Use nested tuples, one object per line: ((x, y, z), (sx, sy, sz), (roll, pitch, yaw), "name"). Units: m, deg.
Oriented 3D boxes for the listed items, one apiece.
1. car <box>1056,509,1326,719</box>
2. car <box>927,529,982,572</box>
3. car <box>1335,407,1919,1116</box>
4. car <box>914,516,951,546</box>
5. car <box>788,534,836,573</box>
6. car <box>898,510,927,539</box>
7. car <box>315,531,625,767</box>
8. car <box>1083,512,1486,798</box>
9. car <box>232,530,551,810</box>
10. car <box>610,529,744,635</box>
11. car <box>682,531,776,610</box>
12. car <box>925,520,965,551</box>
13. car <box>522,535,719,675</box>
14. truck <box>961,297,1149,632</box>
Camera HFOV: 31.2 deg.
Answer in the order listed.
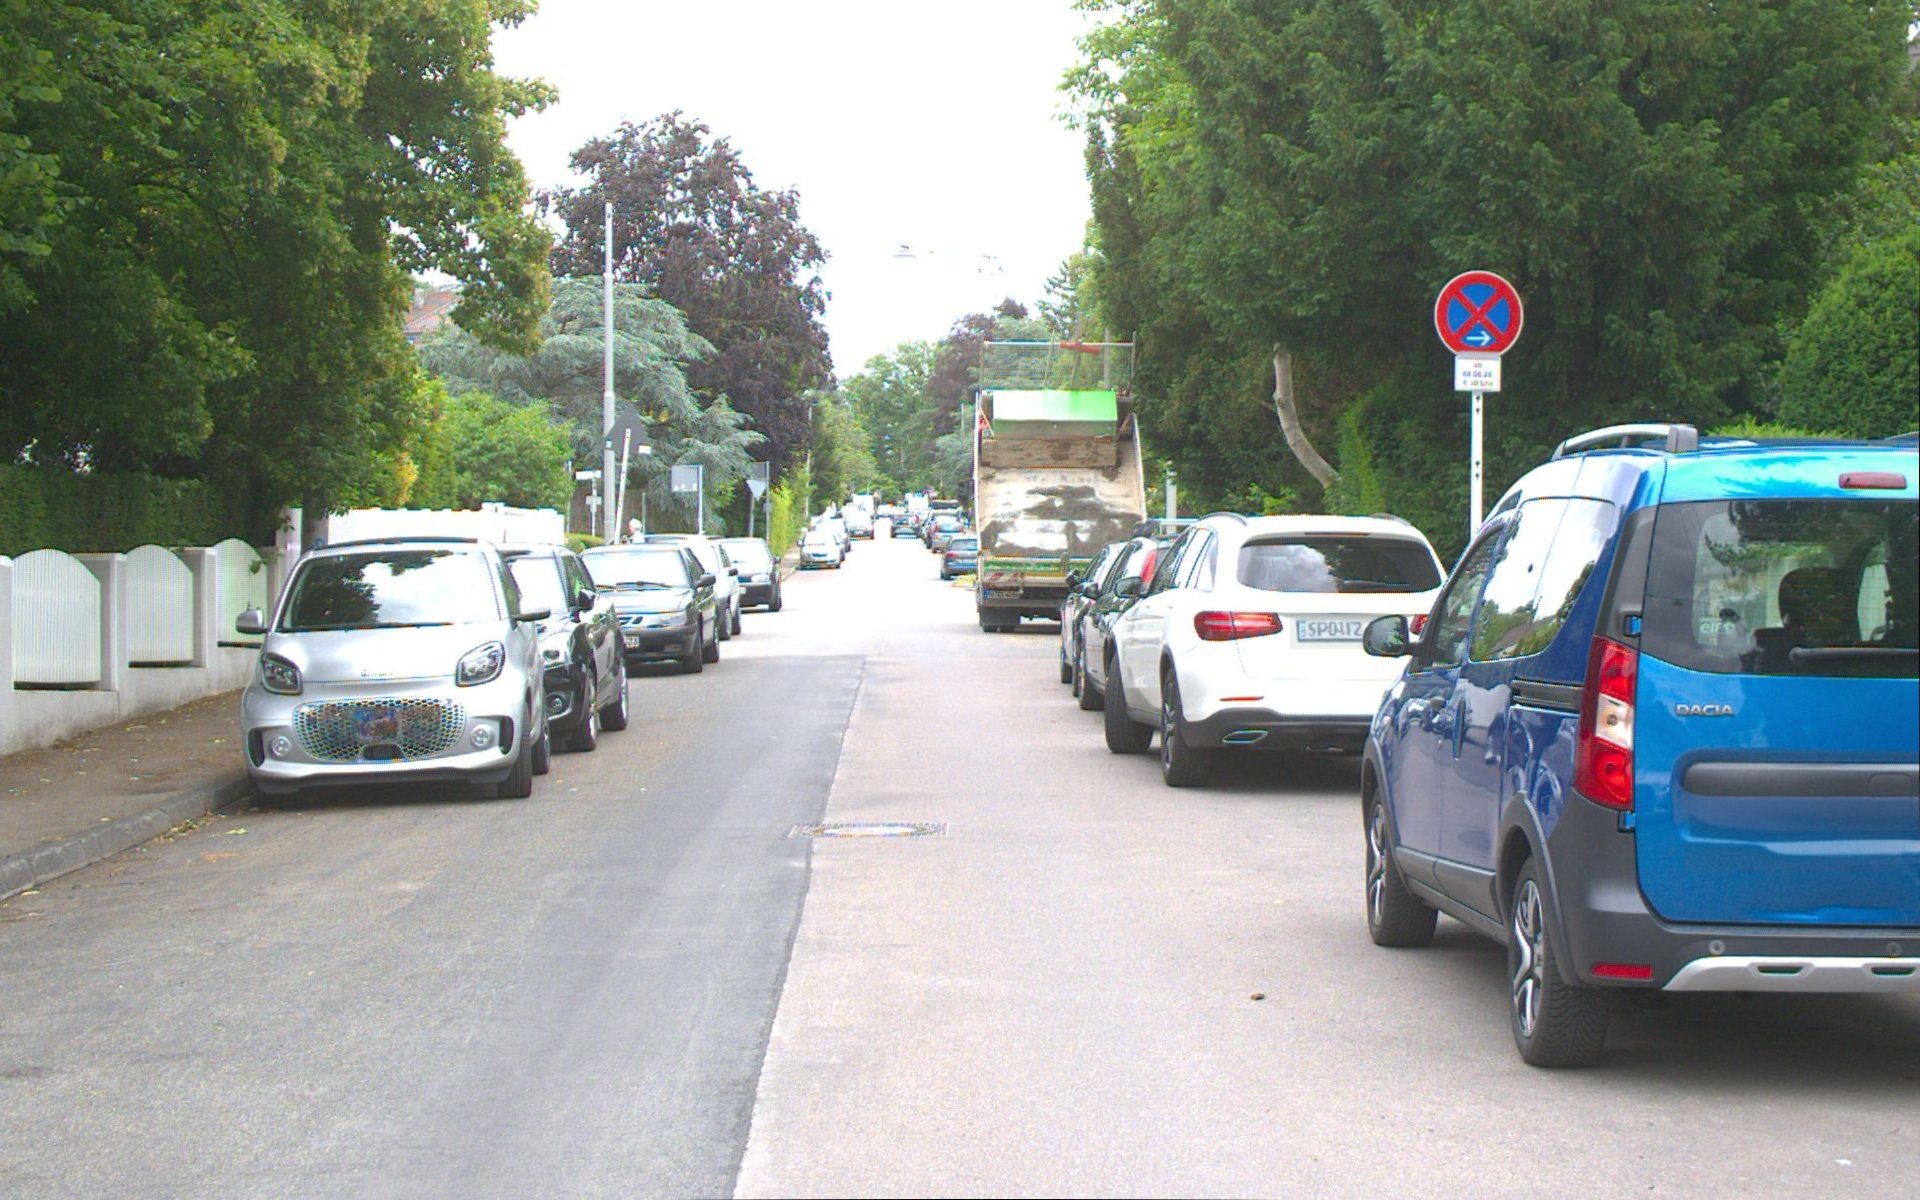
((1.796, 0.068, 27.971), (1.698, 1.565, 4.309), (0, 1, -3), "car")
((-0.211, -1.775, 122.246), (1.778, 1.484, 4.001), (0, 1, -2), "car")
((2.365, 0.384, 11.059), (1.682, 1.823, 4.157), (2, 1, -2), "car")
((-1.393, -3.511, 174.671), (1.789, 1.524, 3.734), (1, 1, 0), "car")
((-6.103, -1.945, 142.184), (1.711, 1.580, 4.000), (1, 1, 2), "car")
((-2.840, -4.530, 205.127), (1.633, 1.695, 3.495), (1, 2, -2), "car")
((-3.450, 0.288, 24.812), (1.655, 1.476, 3.888), (-3, 1, 0), "car")
((1.938, 0.270, 21.907), (1.757, 1.600, 4.576), (1, 1, -5), "car")
((-3.420, 0.367, 21.111), (1.621, 1.528, 2.963), (-2, 1, -4), "car")
((-4.082, -0.298, 50.099), (1.596, 1.428, 4.000), (-2, 1, 0), "car")
((-4.374, -0.577, 65.501), (1.637, 1.390, 3.989), (-2, 1, -2), "car")
((-0.722, -3.122, 165.783), (1.810, 1.331, 3.633), (2, 2, -2), "car")
((-3.749, 0.009, 38.667), (1.641, 1.417, 4.549), (-2, 1, 1), "car")
((1.357, -1.996, 52.561), (2.524, 4.732, 7.187), (1, 1, 0), "truck")
